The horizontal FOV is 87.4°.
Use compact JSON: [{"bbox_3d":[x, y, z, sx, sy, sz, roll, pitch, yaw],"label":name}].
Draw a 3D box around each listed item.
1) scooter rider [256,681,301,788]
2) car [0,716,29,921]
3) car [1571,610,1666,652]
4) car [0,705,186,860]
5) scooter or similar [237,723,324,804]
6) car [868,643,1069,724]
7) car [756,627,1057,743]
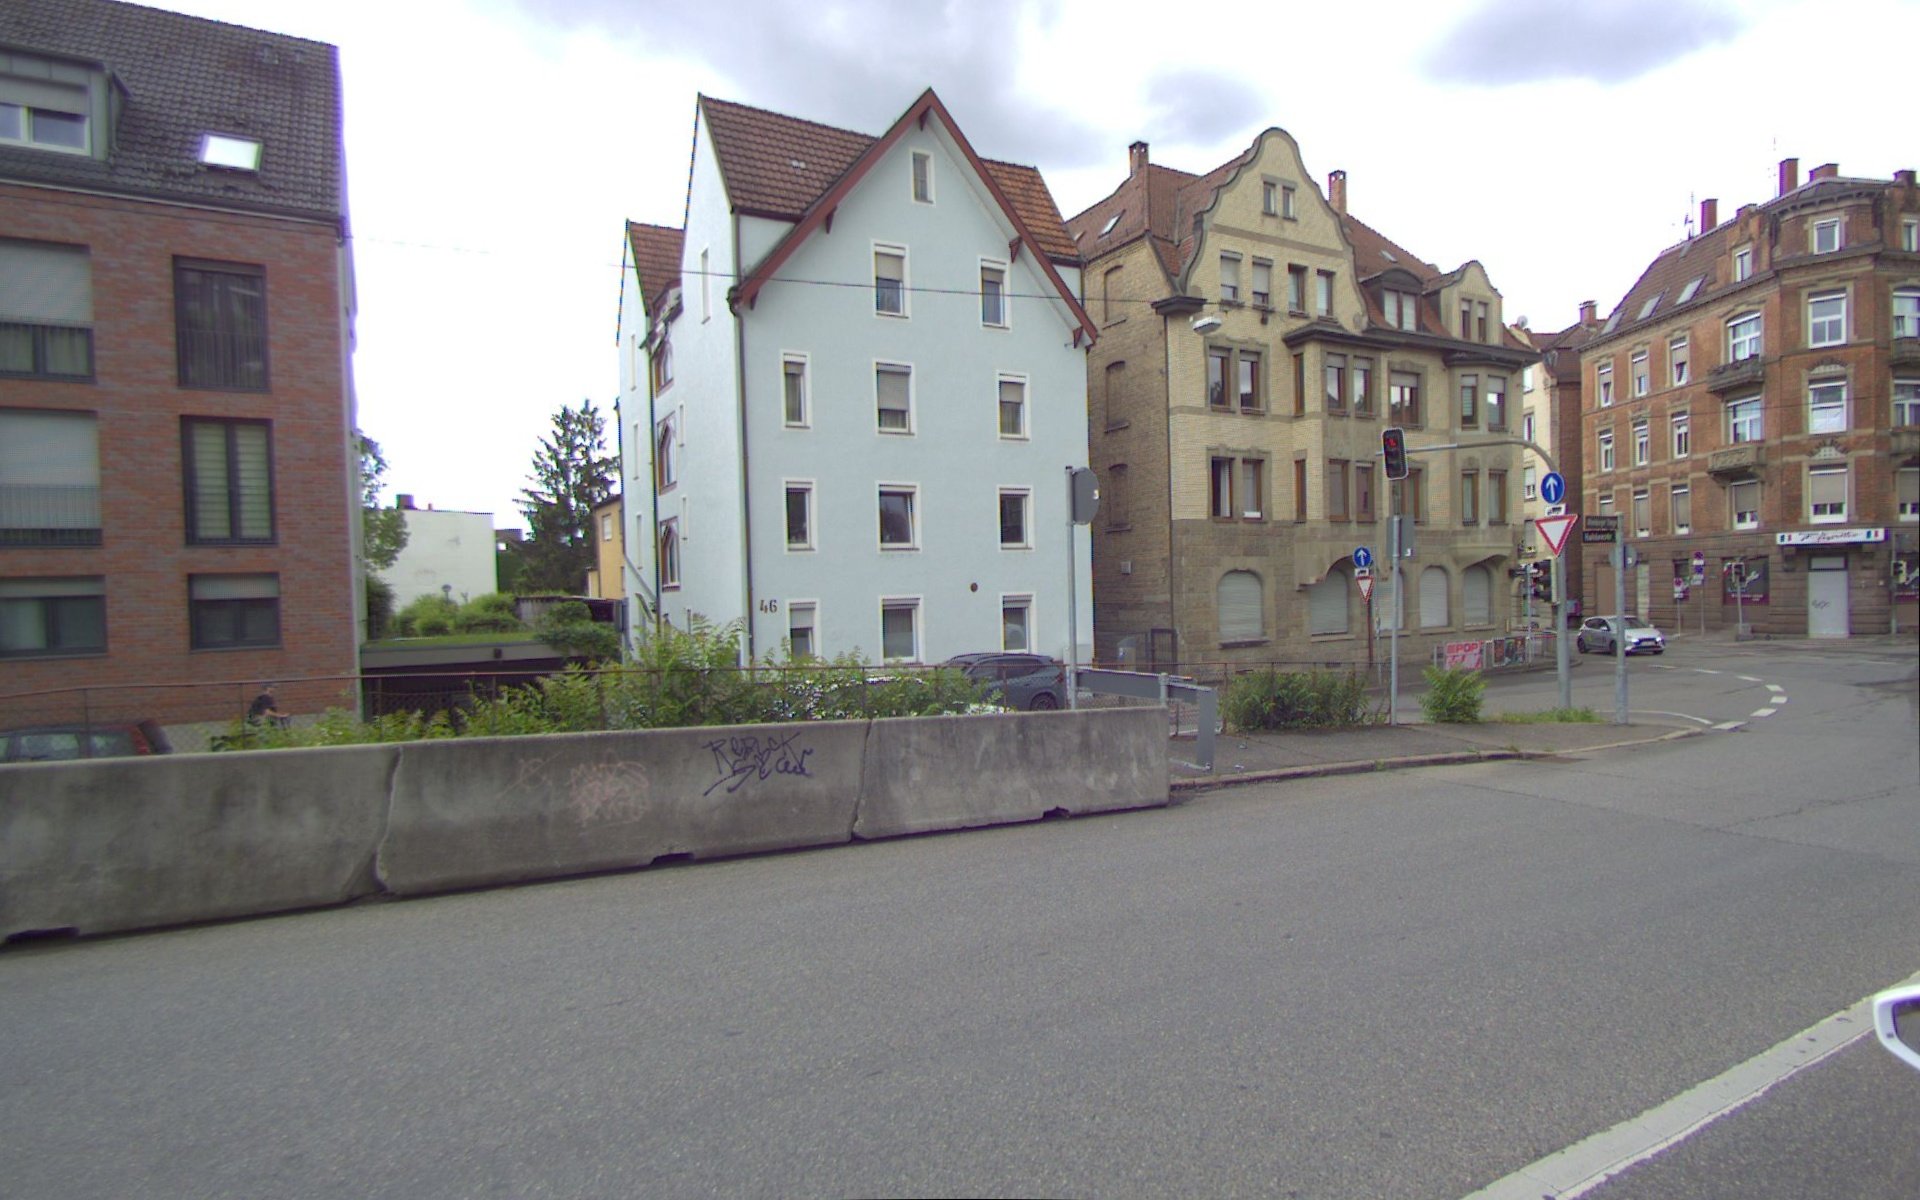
[{"bbox_3d":[-11.717,2.292,17.284,0.570,1.728,0.485,-2,2,-30],"label":"scooter rider"},{"bbox_3d":[-9.304,1.751,6.953,3.956,1.534,1.526,1,0,-33],"label":"car"},{"bbox_3d":[25.477,1.145,38.989,1.641,1.487,3.645,1,0,7],"label":"car"},{"bbox_3d":[-13.526,2.603,14.309,3.722,1.826,1.706,0,1,-30],"label":"car"},{"bbox_3d":[-11.680,2.792,17.298,1.212,1.258,0.376,1,1,-30],"label":"scooter or similar"},{"bbox_3d":[0.219,1.764,22.096,4.184,1.575,1.674,1,-2,-31],"label":"car"},{"bbox_3d":[-0.792,1.227,15.744,4.371,1.534,1.819,1,0,-30],"label":"car"}]
